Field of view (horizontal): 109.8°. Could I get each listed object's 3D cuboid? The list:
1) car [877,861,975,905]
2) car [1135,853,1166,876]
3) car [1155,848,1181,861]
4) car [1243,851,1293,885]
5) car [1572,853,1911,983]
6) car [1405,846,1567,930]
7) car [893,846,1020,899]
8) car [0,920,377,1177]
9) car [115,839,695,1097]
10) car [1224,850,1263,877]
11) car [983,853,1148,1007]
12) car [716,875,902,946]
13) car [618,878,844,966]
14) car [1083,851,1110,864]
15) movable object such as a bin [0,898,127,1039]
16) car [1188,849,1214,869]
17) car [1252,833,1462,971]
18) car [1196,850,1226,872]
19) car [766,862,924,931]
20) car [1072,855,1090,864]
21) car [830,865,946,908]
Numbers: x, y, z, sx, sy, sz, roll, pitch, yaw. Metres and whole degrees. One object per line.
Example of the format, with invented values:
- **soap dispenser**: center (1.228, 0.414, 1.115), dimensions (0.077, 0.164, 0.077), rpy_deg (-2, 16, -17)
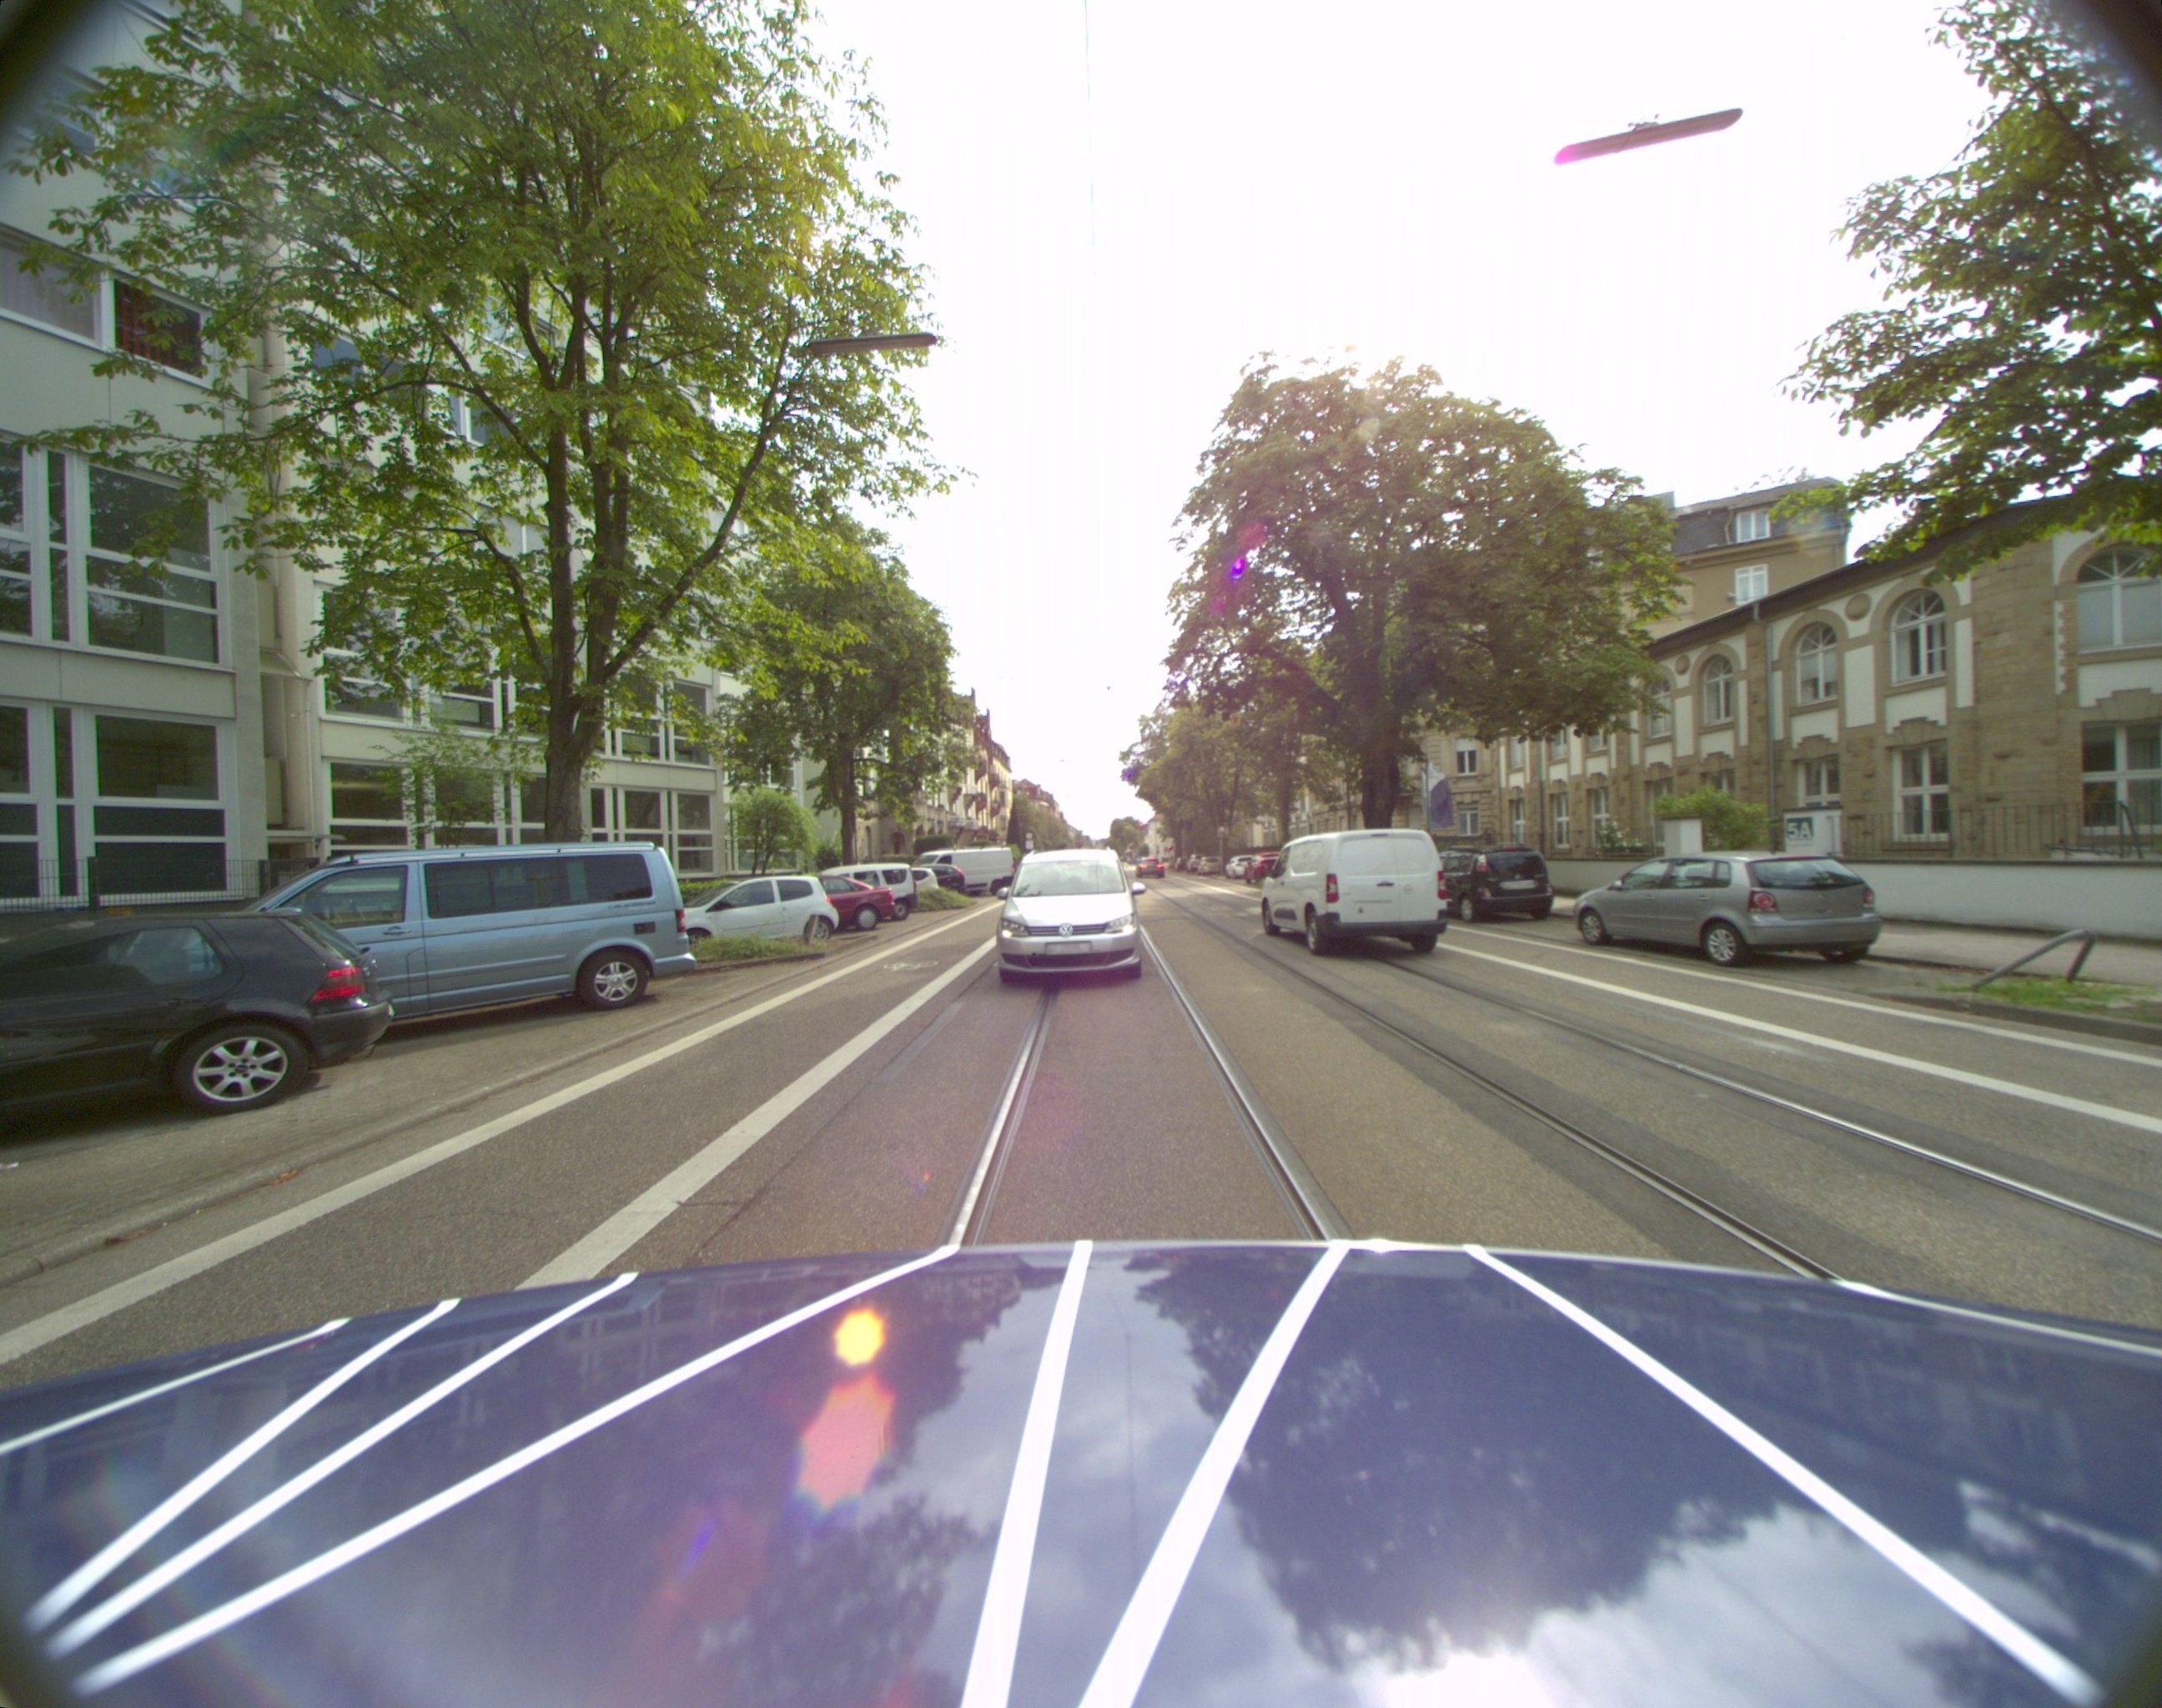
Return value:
- **car**: center (-6.489, 1.166, 31.807), dimensions (3.649, 1.580, 1.764), rpy_deg (-2, 1, -25)
- **car**: center (4.949, 0.745, 54.494), dimensions (1.786, 1.506, 4.144), rpy_deg (-2, 0, 1)
- **car**: center (13.881, 0.101, 121.670), dimensions (3.994, 2.002, 2.001), rpy_deg (-2, 0, 8)
- **car**: center (9.744, 0.686, 39.941), dimensions (1.659, 1.624, 3.906), rpy_deg (-2, 0, 1)
- **car**: center (8.827, 0.745, 10.619), dimensions (1.632, 1.456, 3.574), rpy_deg (-2, 0, 1)
- **car**: center (8.974, 0.686, 17.208), dimensions (1.659, 1.624, 3.725), rpy_deg (-2, 0, 1)
- **car**: center (-5.732, 0.819, 35.486), dimensions (5.449, 2.163, 2.142), rpy_deg (-2, 1, -40)
- **car**: center (-7.413, 1.316, 5.004), dimensions (3.980, 1.379, 1.810), rpy_deg (-3, -1, -44)
- **car**: center (-6.996, 0.930, 8.450), dimensions (4.354, 2.052, 1.994), rpy_deg (-2, 0, -45)
- **car**: center (10.355, 0.579, 48.700), dimensions (1.659, 1.592, 3.906), rpy_deg (-2, 0, 1)
- **car**: center (-0.148, 0.861, 10.956), dimensions (1.816, 1.691, 4.617), rpy_deg (-2, 0, 1)
- **car**: center (-6.516, 1.279, 18.389), dimensions (3.777, 1.331, 1.809), rpy_deg (-2, 1, -40)
- **car**: center (-6.859, 1.239, 15.089), dimensions (3.652, 1.322, 1.763), rpy_deg (-3, 1, -44)
- **car**: center (2.603, 0.524, 124.418), dimensions (3.993, 2.002, 2.002), rpy_deg (-2, 0, 14)
- **movable object such as a bin**: center (-12.217, 1.274, 8.483), dimensions (1.334, 1.450, 1.400), rpy_deg (-2, 0, 5)
- **car**: center (10.439, 0.416, 66.552), dimensions (1.659, 1.624, 3.906), rpy_deg (-2, 0, 1)
- **car**: center (4.273, 0.648, 12.650), dimensions (1.799, 1.813, 4.678), rpy_deg (-2, 0, 1)
- **car**: center (10.130, 0.510, 59.242), dimensions (1.659, 1.624, 3.906), rpy_deg (-2, 0, 1)
- **car**: center (-6.553, 1.107, 21.306), dimensions (3.777, 1.609, 1.809), rpy_deg (-2, 1, -40)
- **car**: center (-0.051, 1.201, 174.053), dimensions (3.998, 1.797, 1.999), rpy_deg (-2, 1, -3)
- **car**: center (-6.983, 1.136, 27.674), dimensions (3.652, 1.322, 1.763), rpy_deg (-3, 1, -44)
